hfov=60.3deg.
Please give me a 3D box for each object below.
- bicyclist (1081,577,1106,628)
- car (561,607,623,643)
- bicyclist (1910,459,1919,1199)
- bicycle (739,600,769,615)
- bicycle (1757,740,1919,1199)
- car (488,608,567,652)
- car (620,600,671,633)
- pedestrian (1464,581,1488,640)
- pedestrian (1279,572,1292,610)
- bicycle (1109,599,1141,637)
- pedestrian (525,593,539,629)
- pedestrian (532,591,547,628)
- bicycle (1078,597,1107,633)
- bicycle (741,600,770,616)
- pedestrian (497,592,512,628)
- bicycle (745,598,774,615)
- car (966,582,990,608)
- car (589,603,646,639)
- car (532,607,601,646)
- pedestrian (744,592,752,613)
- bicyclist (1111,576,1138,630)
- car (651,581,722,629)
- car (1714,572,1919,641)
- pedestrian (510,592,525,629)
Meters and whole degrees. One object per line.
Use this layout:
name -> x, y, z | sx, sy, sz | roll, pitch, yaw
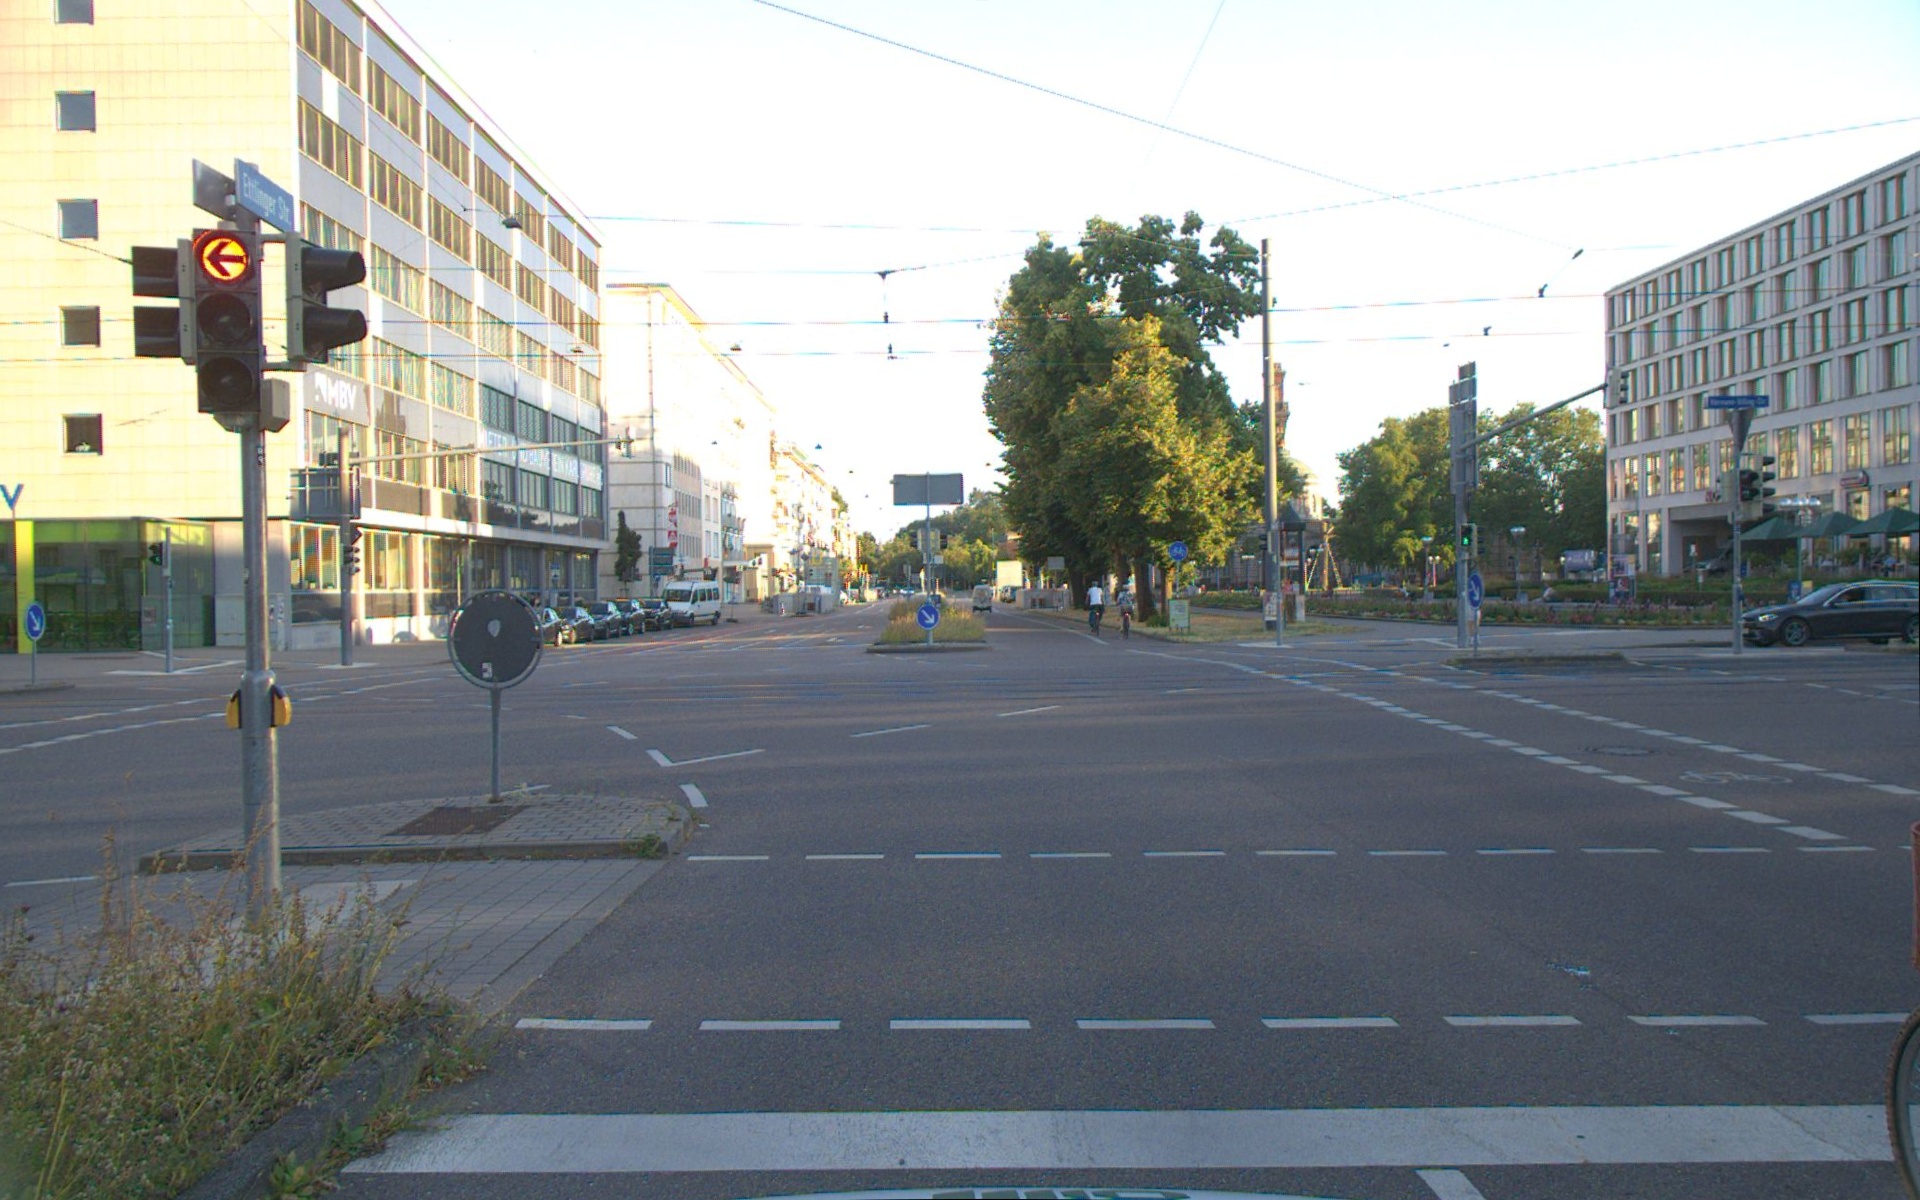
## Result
bicyclist -> 4.506, 0.069, 56.043 | 0.731, 1.692, 0.873 | -1, 0, -1
car -> -16.196, 1.085, 72.968 | 1.882, 1.489, 3.999 | -1, 0, -1
bicyclist -> 2.172, 0.560, 2.758 | 0.587, 1.665, 0.998 | 1, 0, -1
bicycle -> -15.568, 0.575, 125.165 | 2.161, 1.132, 0.618 | -1, 0, -3
bicycle -> 2.165, 0.907, 2.841 | 0.599, 1.152, 2.004 | 1, 0, -1
car -> -16.060, 1.097, 61.624 | 1.882, 1.489, 4.102 | -1, 0, -1
car -> -16.024, 0.814, 84.503 | 1.882, 1.595, 3.999 | -1, 0, -1
pedestrian -> 13.806, 0.285, 44.273 | 0.480, 1.567, 0.408 | -1, 0, -1
pedestrian -> 14.320, -0.401, 72.762 | 0.451, 1.685, 0.566 | -1, 0, -1
bicycle -> 5.324, 0.553, 53.382 | 0.731, 1.164, 2.505 | -1, 0, -1
pedestrian -> -20.257, 0.518, 78.218 | 0.490, 1.708, 0.500 | -1, 0, -1
pedestrian -> -19.690, 0.443, 77.532 | 0.540, 1.708, 0.500 | -1, 0, -1
bicycle -> 4.508, 0.503, 56.446 | 0.731, 1.164, 2.505 | -1, 0, -1
bicycle -> -15.668, 0.600, 126.855 | 2.161, 1.132, 0.689 | -1, 0, -3
pedestrian -> -21.435, 0.473, 77.764 | 0.540, 1.708, 0.500 | -1, 0, -1
bicycle -> -15.589, 0.527, 128.624 | 2.161, 1.258, 0.839 | -1, 0, -3
car -> 1.211, -0.325, 109.810 | 1.379, 1.670, 3.998 | -1, 0, -2
car -> -16.194, 0.957, 78.271 | 1.882, 1.595, 3.999 | -1, 0, -1
car -> -16.173, 1.061, 68.154 | 1.882, 1.489, 3.999 | -1, 0, -1
pedestrian -> -21.090, 0.251, 164.696 | 0.666, 2.049, 0.545 | -2, 0, -1
bicyclist -> 5.311, 0.105, 53.388 | 0.731, 1.720, 0.799 | -1, 0, -1
car -> -14.987, 0.230, 90.975 | 1.958, 2.521, 5.873 | -1, 0, 9
car -> 21.056, 0.141, 39.994 | 4.724, 1.542, 2.000 | -1, 0, 1
pedestrian -> -20.865, 0.484, 78.033 | 0.540, 1.708, 0.500 | -1, 0, -1
